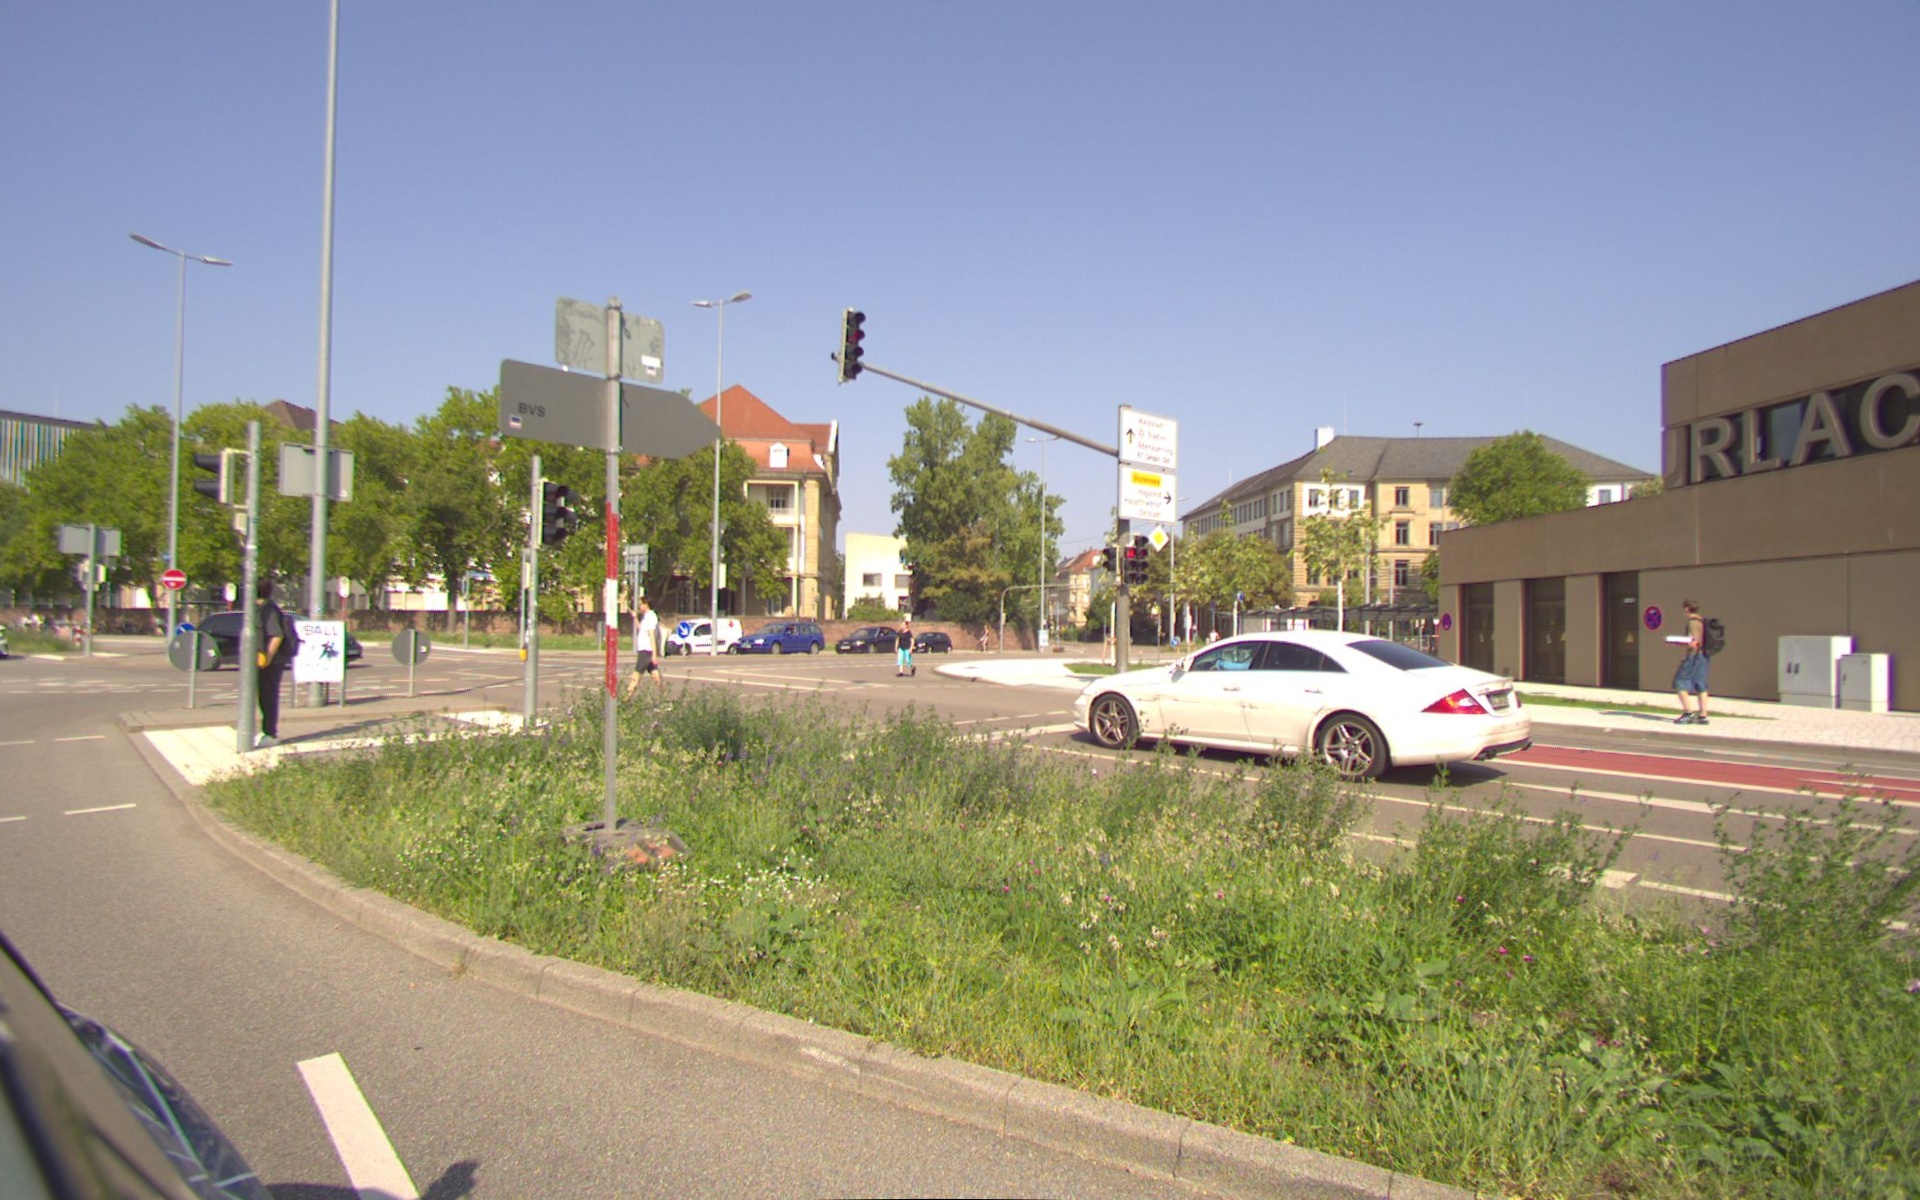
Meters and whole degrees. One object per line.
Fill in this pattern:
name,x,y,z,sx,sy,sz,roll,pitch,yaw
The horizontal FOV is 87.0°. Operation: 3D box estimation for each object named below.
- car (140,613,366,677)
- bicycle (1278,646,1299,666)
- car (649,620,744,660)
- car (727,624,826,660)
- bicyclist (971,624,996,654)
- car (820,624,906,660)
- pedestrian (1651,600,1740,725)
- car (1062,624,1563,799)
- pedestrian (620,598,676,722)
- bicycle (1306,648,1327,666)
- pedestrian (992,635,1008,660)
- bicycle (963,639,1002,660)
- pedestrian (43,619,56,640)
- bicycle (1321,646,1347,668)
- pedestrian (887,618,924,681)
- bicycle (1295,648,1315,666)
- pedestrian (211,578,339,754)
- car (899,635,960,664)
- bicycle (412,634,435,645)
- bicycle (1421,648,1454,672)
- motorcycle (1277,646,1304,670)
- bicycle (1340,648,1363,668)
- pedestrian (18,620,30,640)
car,-18.648,1.174,26.857,4.645,1.590,1.854,1,-2,-2
bicycle,16.502,2.820,50.835,0.415,0.975,1.589,1,-2,-4
car,-12.008,1.851,46.246,1.755,1.691,3.946,-4,-5,40
car,-7.395,1.694,41.143,1.601,1.339,4.290,0,-2,29
bicyclist,1.434,2.392,62.041,0.885,1.759,1.353,-4,-4,34
car,-4.416,1.905,46.631,1.992,1.564,3.958,0,-2,30
pedestrian,10.751,0.896,14.823,0.872,1.773,0.674,-1,-1,21
car,3.494,0.992,10.872,1.819,1.372,4.825,0,0,-42
pedestrian,-4.778,0.900,15.494,0.683,1.847,0.572,2,-2,-30
bicycle,17.903,2.868,50.877,0.404,0.899,1.589,1,-2,-4
pedestrian,3.213,3.794,80.920,0.822,2.029,0.894,-5,-5,45
bicycle,1.401,3.010,61.937,0.885,1.214,3.042,-4,-4,34
pedestrian,-74.707,2.437,83.032,0.588,1.664,0.481,-2,-4,13
bicycle,18.077,2.748,48.993,0.525,0.994,1.715,1,-2,-4
pedestrian,-1.421,1.287,26.487,0.746,1.577,0.664,2,-2,13
bicycle,17.313,2.854,50.802,0.395,0.899,1.589,1,-2,-4
pedestrian,-7.641,0.712,11.292,1.066,1.854,0.731,2,-2,-40
car,-1.847,3.030,61.736,1.752,1.691,3.954,-4,-4,34
bicycle,-40.585,2.987,76.591,1.531,0.842,0.433,0,-2,6
bicycle,20.832,2.608,44.177,0.455,1.017,1.876,1,-2,-4
motorcycle,14.725,2.577,45.134,0.535,1.017,1.747,1,-2,-4
bicycle,18.823,2.791,48.696,0.404,0.899,1.589,1,-2,-4
pedestrian,-77.055,2.459,83.303,0.497,1.583,0.533,0,-2,11
